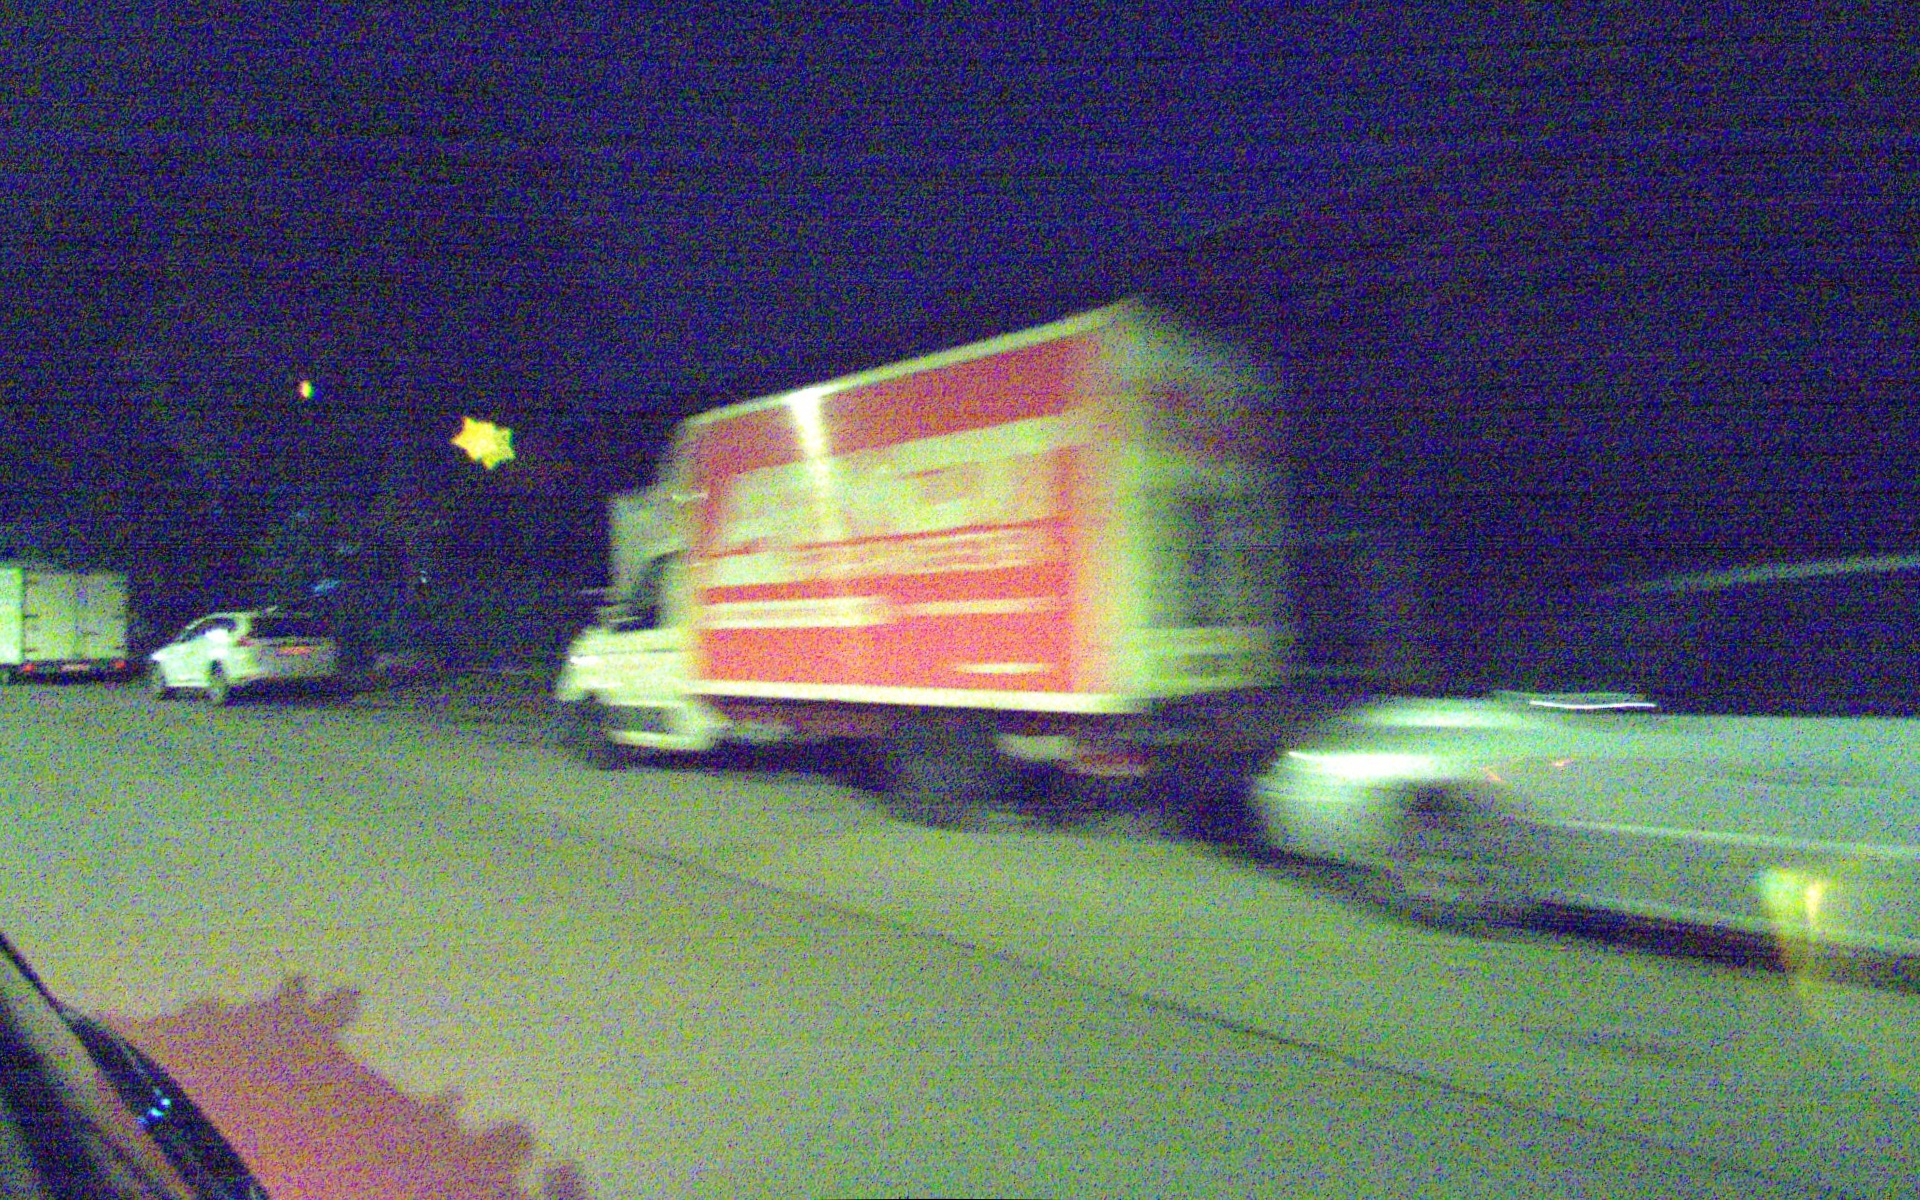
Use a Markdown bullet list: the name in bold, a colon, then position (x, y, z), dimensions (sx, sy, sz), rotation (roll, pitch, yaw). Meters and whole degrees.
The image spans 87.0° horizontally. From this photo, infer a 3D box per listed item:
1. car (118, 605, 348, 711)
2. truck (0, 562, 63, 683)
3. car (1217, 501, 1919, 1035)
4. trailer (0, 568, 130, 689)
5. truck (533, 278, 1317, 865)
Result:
- **car**: position (-13.775, 1.030, 19.100), dimensions (4.678, 1.785, 1.977), rotation (-1, -2, 33)
- **truck**: position (-28.792, 0.663, 29.357), dimensions (7.212, 3.268, 2.354), rotation (-1, -2, 34)
- **car**: position (3.728, 0.599, 4.307), dimensions (4.837, 1.830, 1.809), rotation (-2, -2, 42)
- **trailer**: position (-23.283, 0.722, 25.615), dimensions (4.601, 2.817, 2.187), rotation (-1, -2, 32)
- **truck**: position (-0.894, -0.079, 9.076), dimensions (7.309, 3.305, 2.517), rotation (-2, -2, 42)
